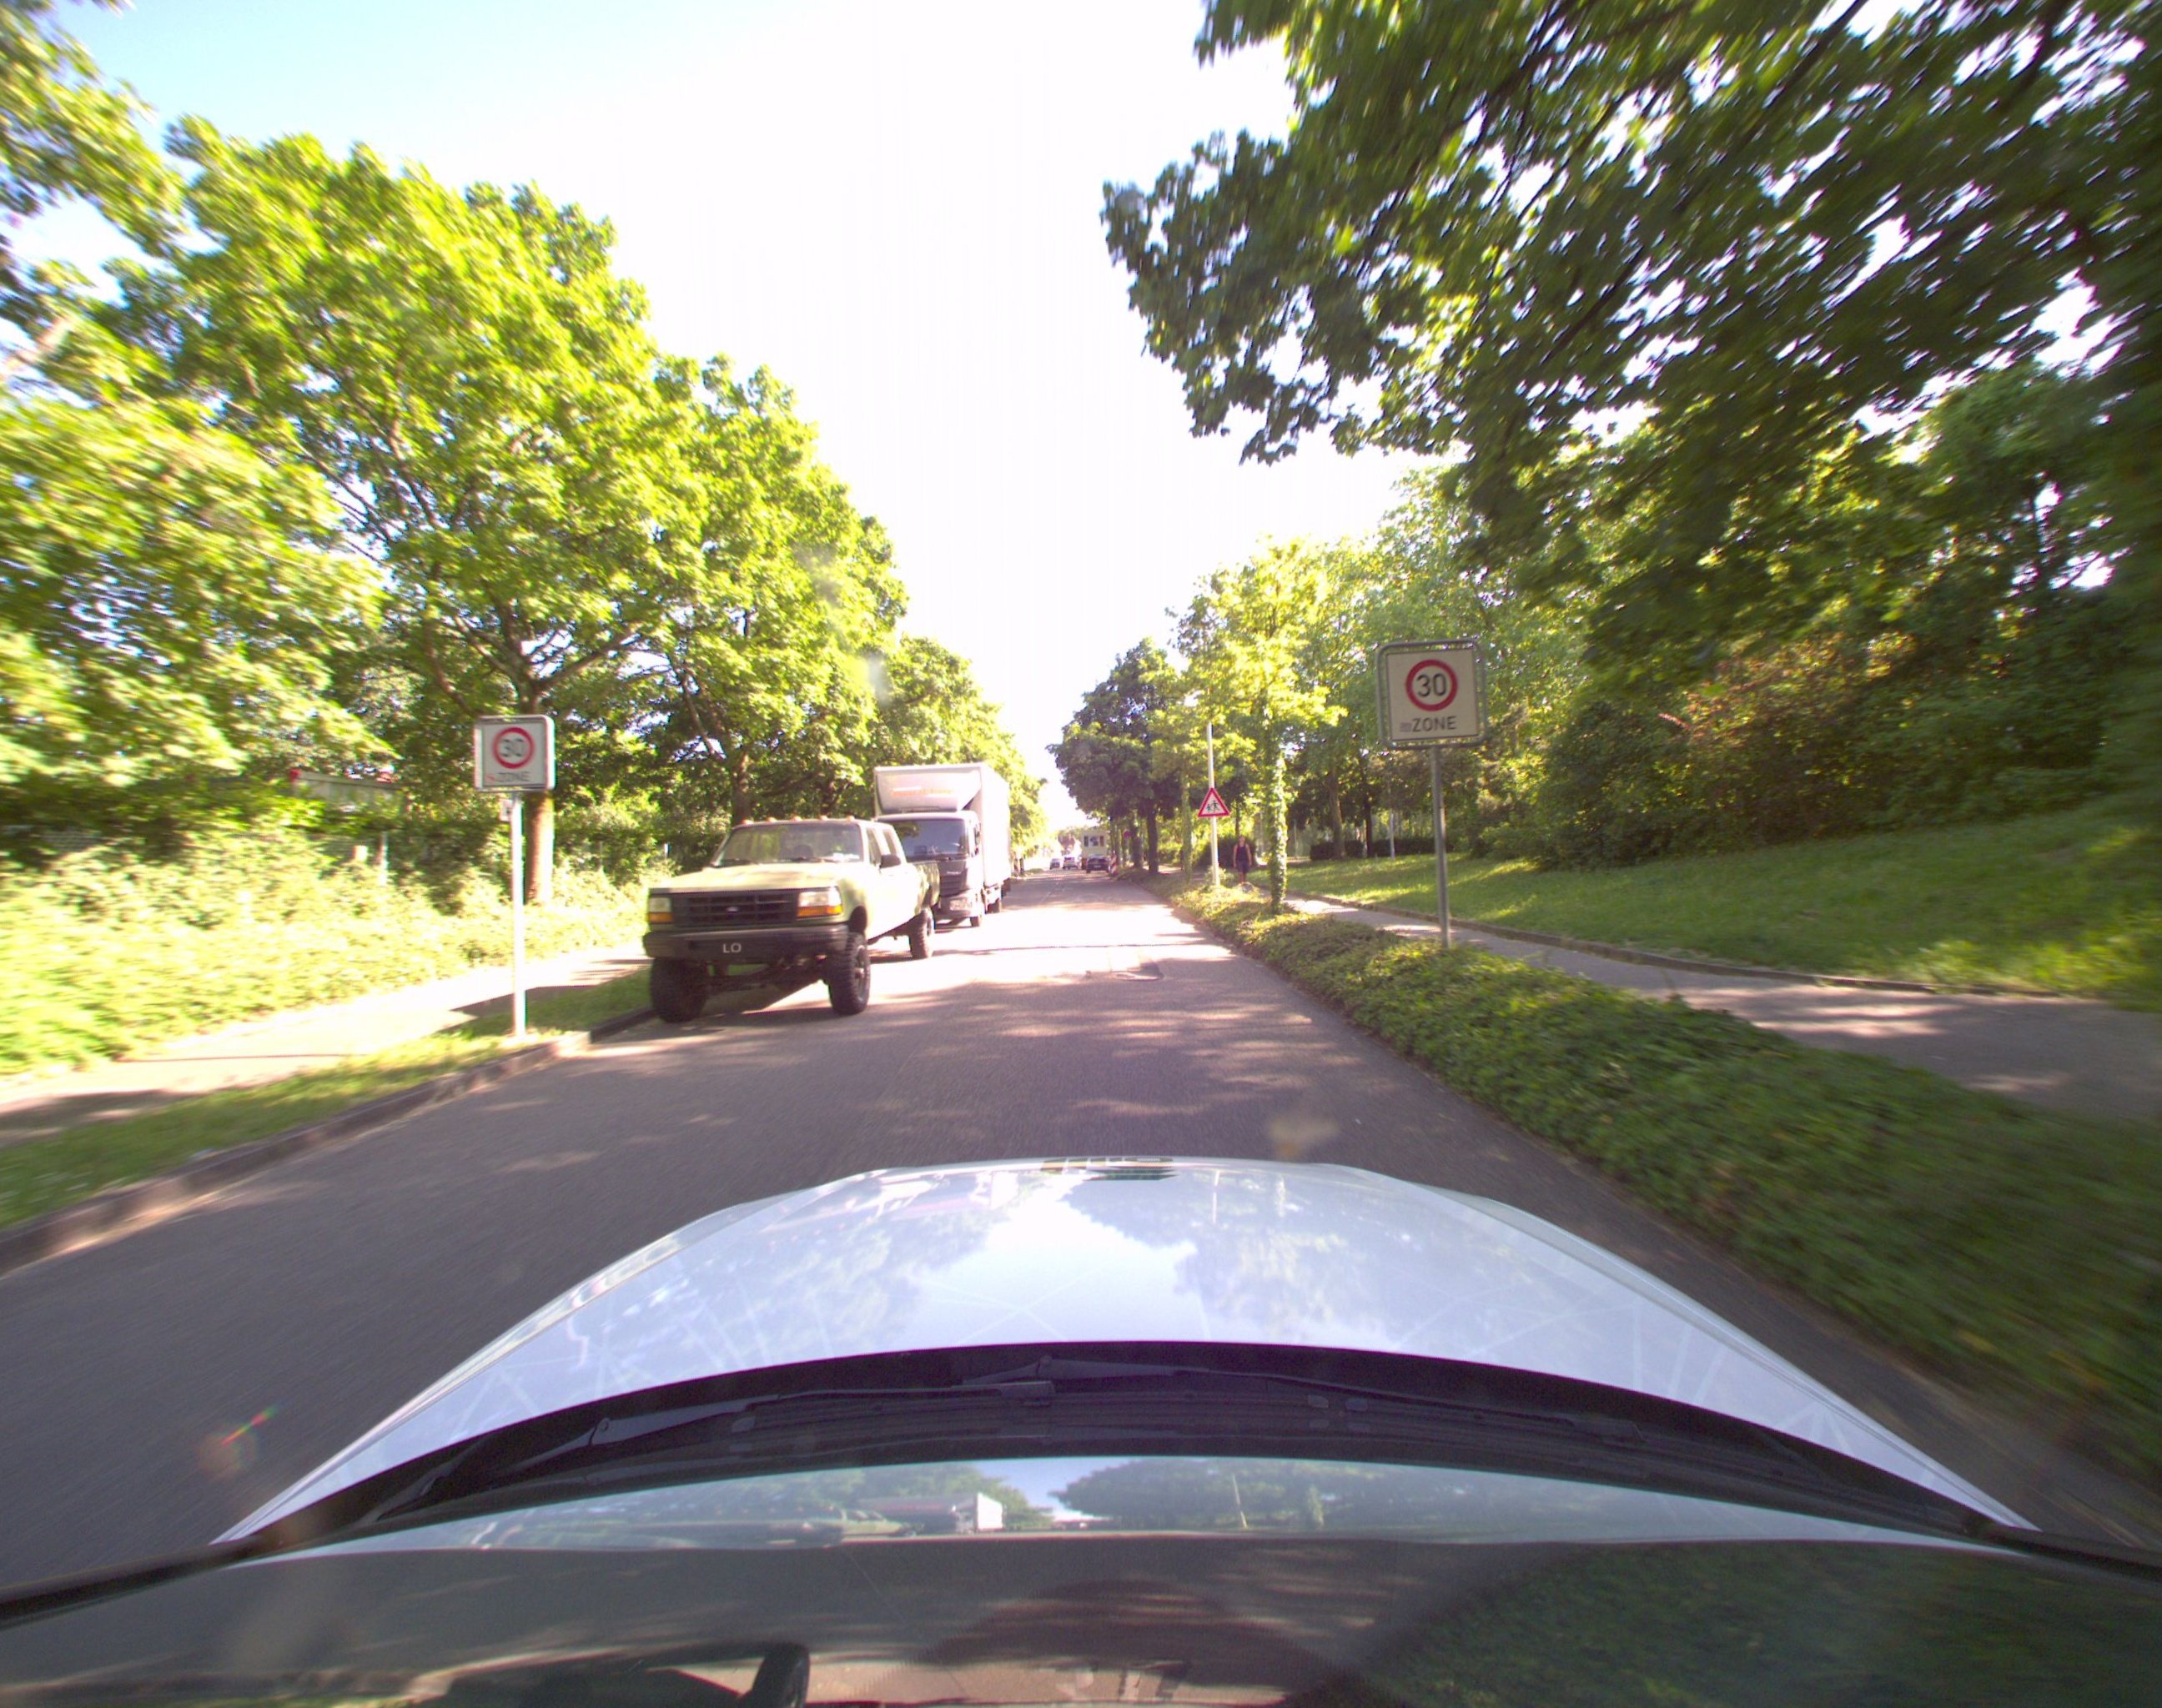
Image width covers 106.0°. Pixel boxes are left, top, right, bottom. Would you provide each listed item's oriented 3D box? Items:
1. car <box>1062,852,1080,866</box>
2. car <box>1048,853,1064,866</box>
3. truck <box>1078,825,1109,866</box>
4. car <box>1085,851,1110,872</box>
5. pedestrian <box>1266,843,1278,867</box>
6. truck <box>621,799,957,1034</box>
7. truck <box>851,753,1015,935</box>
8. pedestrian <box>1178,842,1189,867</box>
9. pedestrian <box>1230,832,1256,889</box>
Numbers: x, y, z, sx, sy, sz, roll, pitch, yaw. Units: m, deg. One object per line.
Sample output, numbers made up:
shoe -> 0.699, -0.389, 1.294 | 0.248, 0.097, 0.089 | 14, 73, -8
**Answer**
car -> -1.118, 0.511, 92.204 | 1.788, 1.510, 4.000 | -2, 0, 1
car -> -3.047, 0.693, 101.150 | 1.788, 1.510, 4.000 | -2, 0, 1
truck -> 1.289, -0.885, 84.738 | 2.877, 3.944, 10.001 | -2, 0, 1
car -> 1.257, 0.570, 62.482 | 1.788, 1.510, 4.000 | -2, 0, 1
pedestrian -> 13.556, 0.077, 57.879 | 0.645, 1.661, 0.650 | -2, 0, 1
truck -> -3.225, 0.576, 10.909 | 2.107, 2.094, 6.644 | -3, 0, -1
truck -> -3.348, -0.216, 20.688 | 2.606, 3.627, 7.954 | -3, 0, 0
pedestrian -> 6.906, 0.060, 54.904 | 0.645, 1.661, 0.650 | -2, 0, 1
pedestrian -> 5.278, 0.220, 26.527 | 0.646, 1.820, 0.650 | -2, 0, 0
